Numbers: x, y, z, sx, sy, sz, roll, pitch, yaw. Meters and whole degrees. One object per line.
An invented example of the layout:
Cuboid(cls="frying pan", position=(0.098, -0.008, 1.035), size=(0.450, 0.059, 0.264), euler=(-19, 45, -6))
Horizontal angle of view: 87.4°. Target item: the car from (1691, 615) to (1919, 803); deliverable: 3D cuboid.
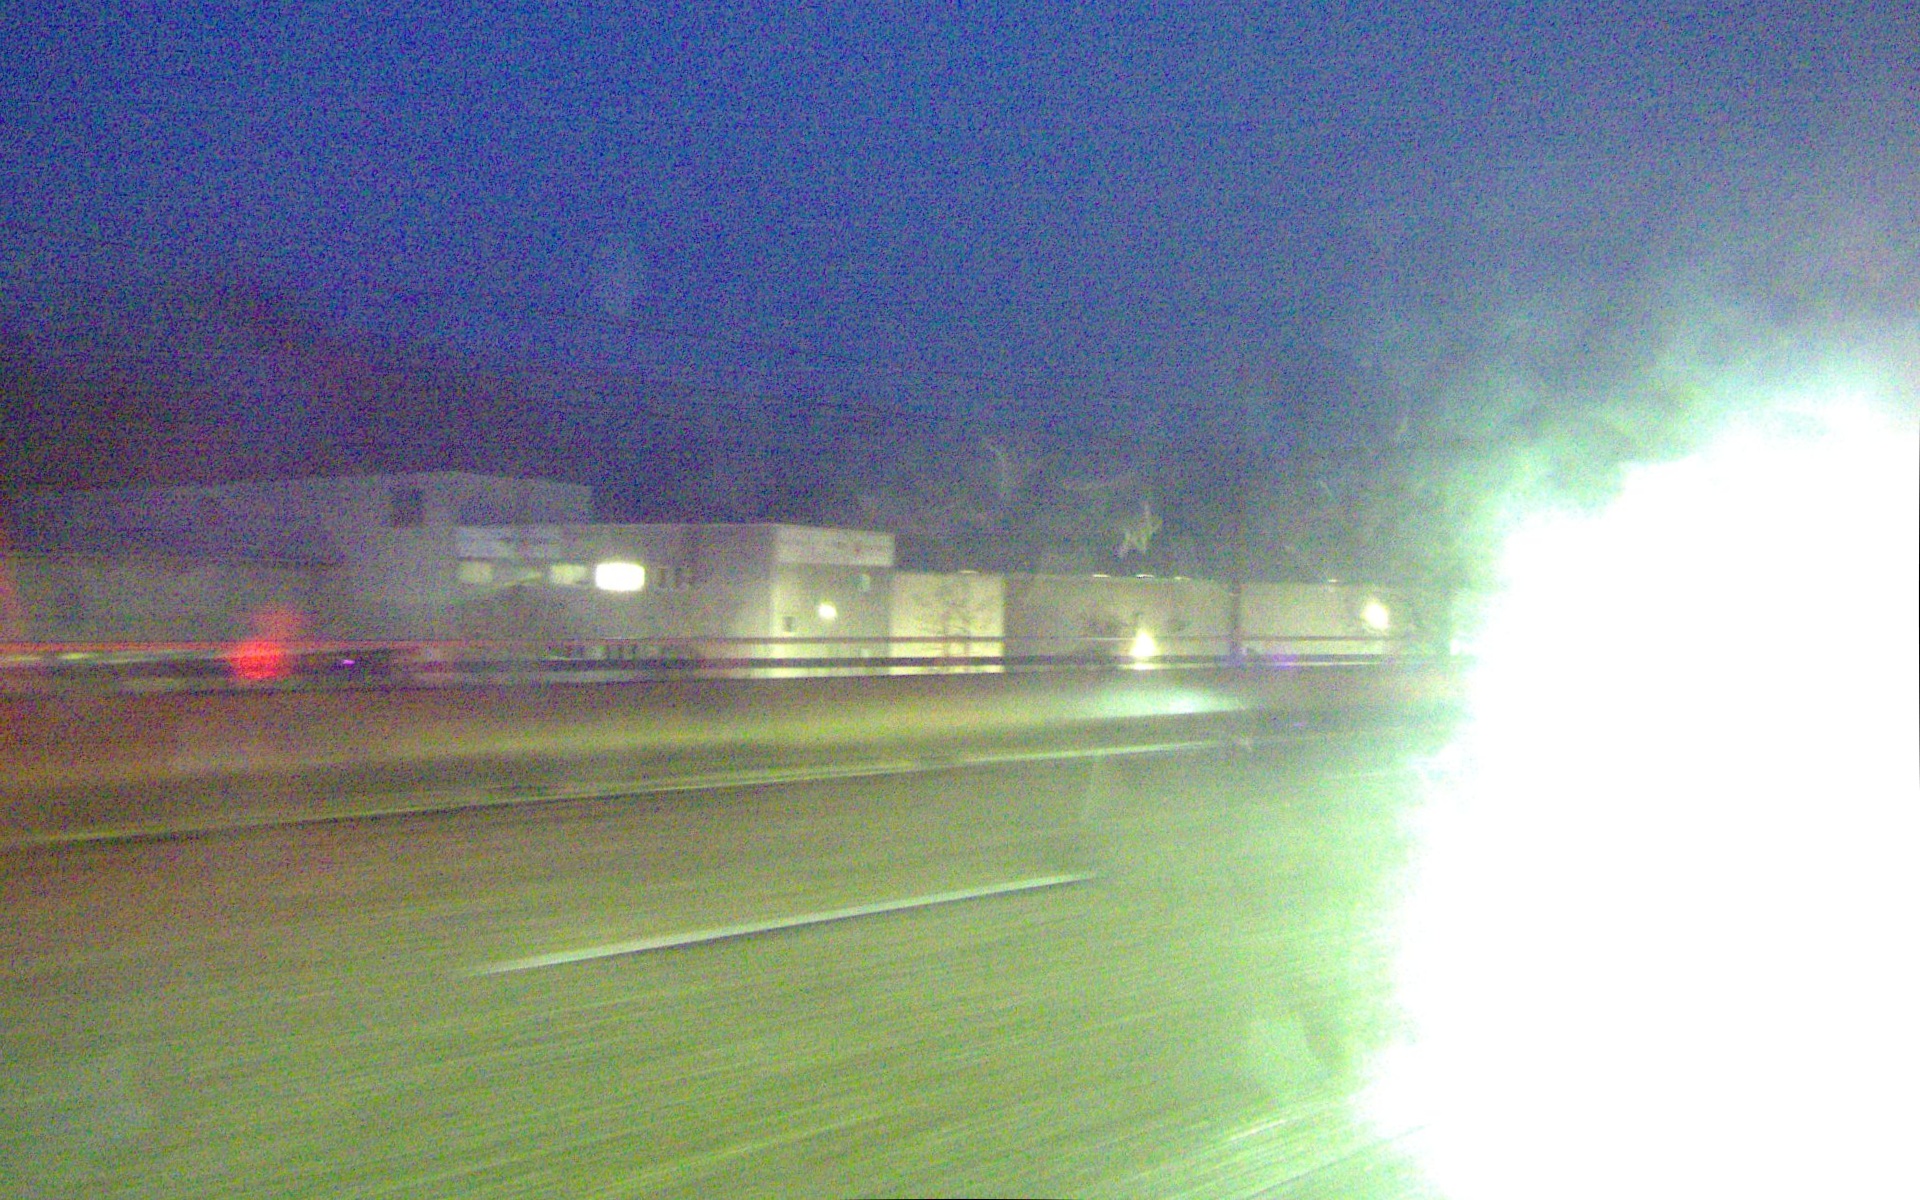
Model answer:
Cuboid(cls="car", position=(9.077, 0.908, 9.801), size=(4.245, 1.454, 1.685), euler=(1, 1, -32))
